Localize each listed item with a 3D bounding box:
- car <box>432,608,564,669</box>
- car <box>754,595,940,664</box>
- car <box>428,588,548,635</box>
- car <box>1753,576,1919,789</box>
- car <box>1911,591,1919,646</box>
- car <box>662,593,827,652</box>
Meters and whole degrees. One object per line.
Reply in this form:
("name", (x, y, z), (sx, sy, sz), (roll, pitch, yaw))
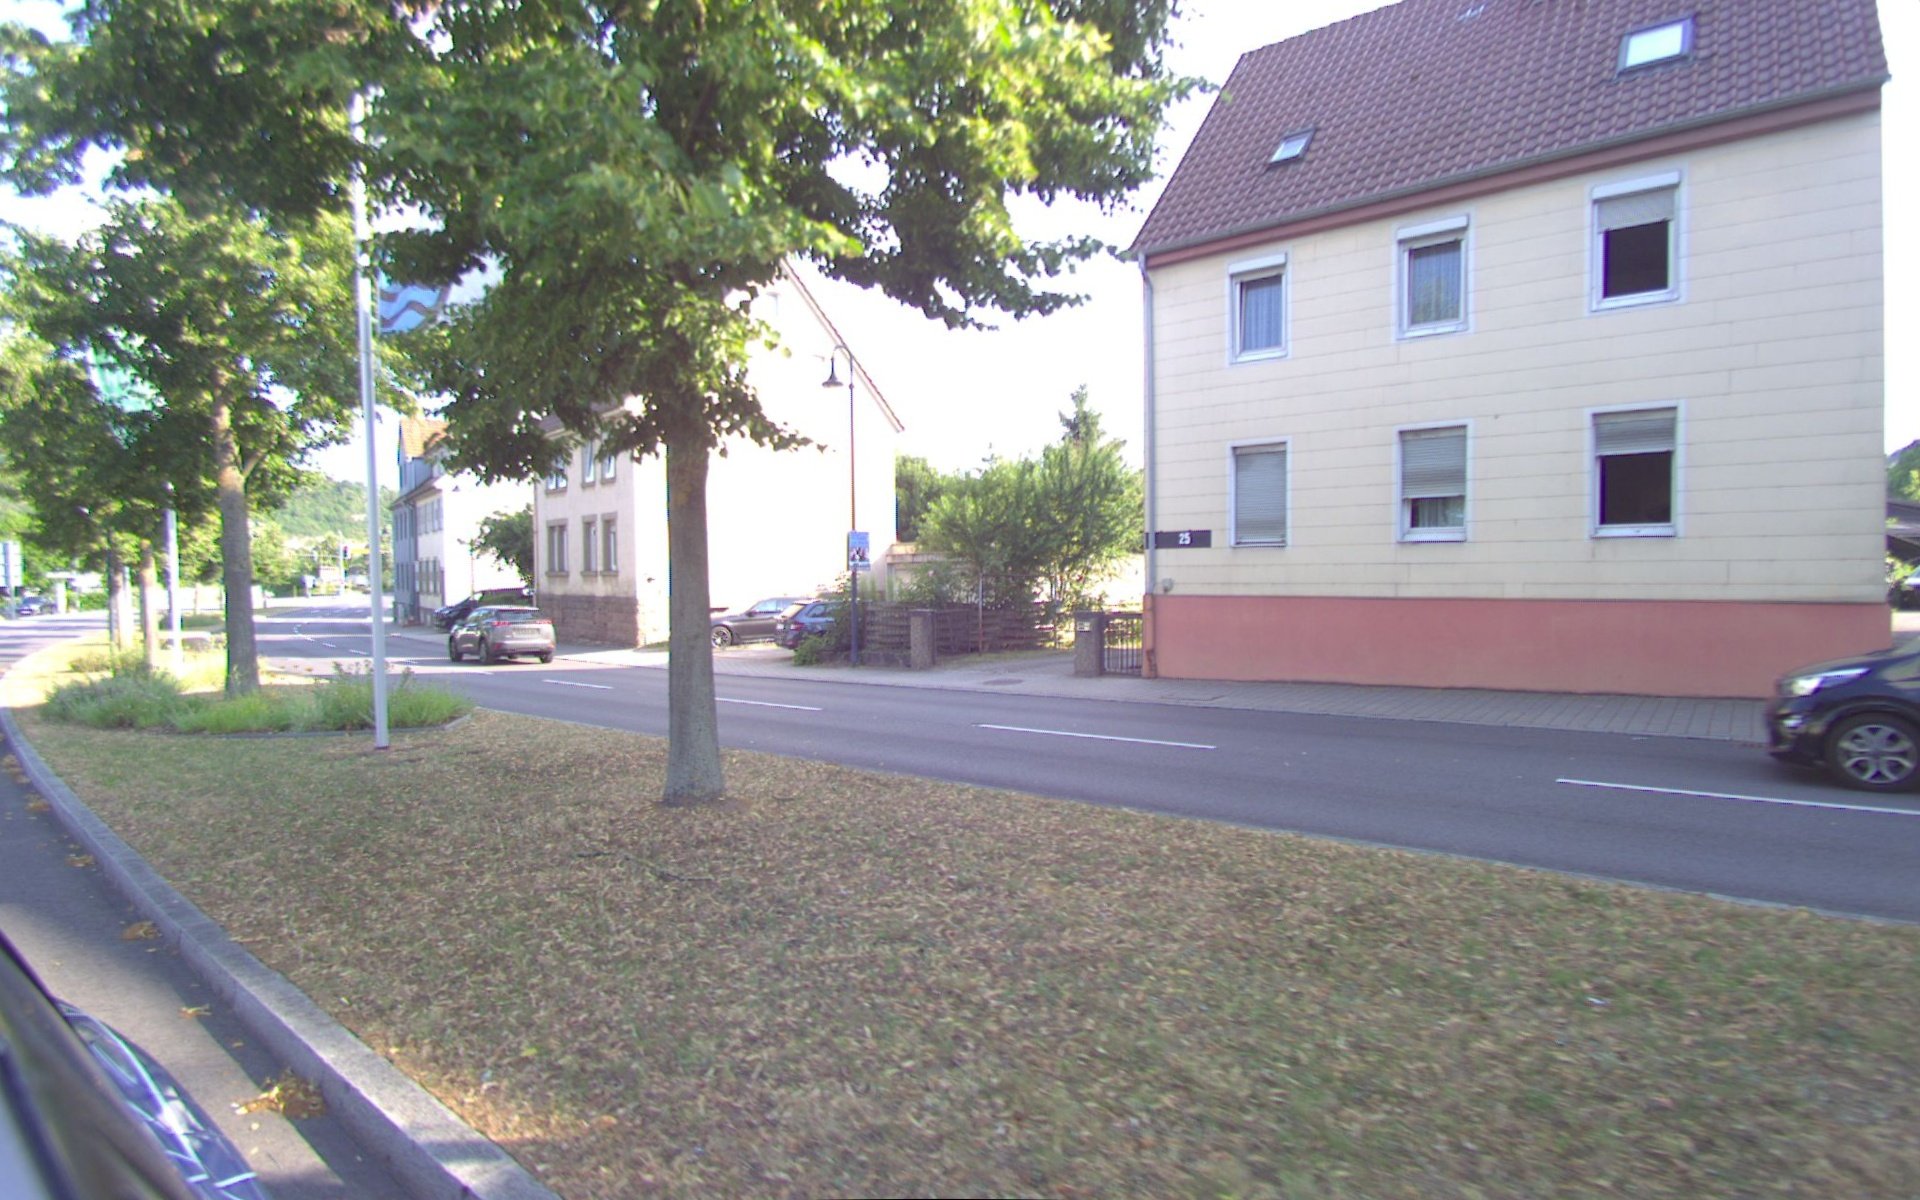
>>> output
("car", (-12.654, 0.996, 27.589), (1.917, 1.497, 4.327), (0, 0, -45))
("car", (-2.870, 0.701, 25.872), (4.286, 1.497, 1.952), (-2, 1, -29))
("car", (-22.124, 0.494, 47.492), (4.760, 1.891, 2.005), (-4, 2, -35))
("car", (7.999, 0.565, 7.118), (3.780, 1.497, 1.590), (-1, 0, 39))
("car", (30.393, 0.506, 30.588), (3.934, 1.630, 1.677), (-1, 0, -36))
("car", (-6.283, 0.617, 29.629), (4.286, 1.497, 2.018), (-2, 1, -31))
